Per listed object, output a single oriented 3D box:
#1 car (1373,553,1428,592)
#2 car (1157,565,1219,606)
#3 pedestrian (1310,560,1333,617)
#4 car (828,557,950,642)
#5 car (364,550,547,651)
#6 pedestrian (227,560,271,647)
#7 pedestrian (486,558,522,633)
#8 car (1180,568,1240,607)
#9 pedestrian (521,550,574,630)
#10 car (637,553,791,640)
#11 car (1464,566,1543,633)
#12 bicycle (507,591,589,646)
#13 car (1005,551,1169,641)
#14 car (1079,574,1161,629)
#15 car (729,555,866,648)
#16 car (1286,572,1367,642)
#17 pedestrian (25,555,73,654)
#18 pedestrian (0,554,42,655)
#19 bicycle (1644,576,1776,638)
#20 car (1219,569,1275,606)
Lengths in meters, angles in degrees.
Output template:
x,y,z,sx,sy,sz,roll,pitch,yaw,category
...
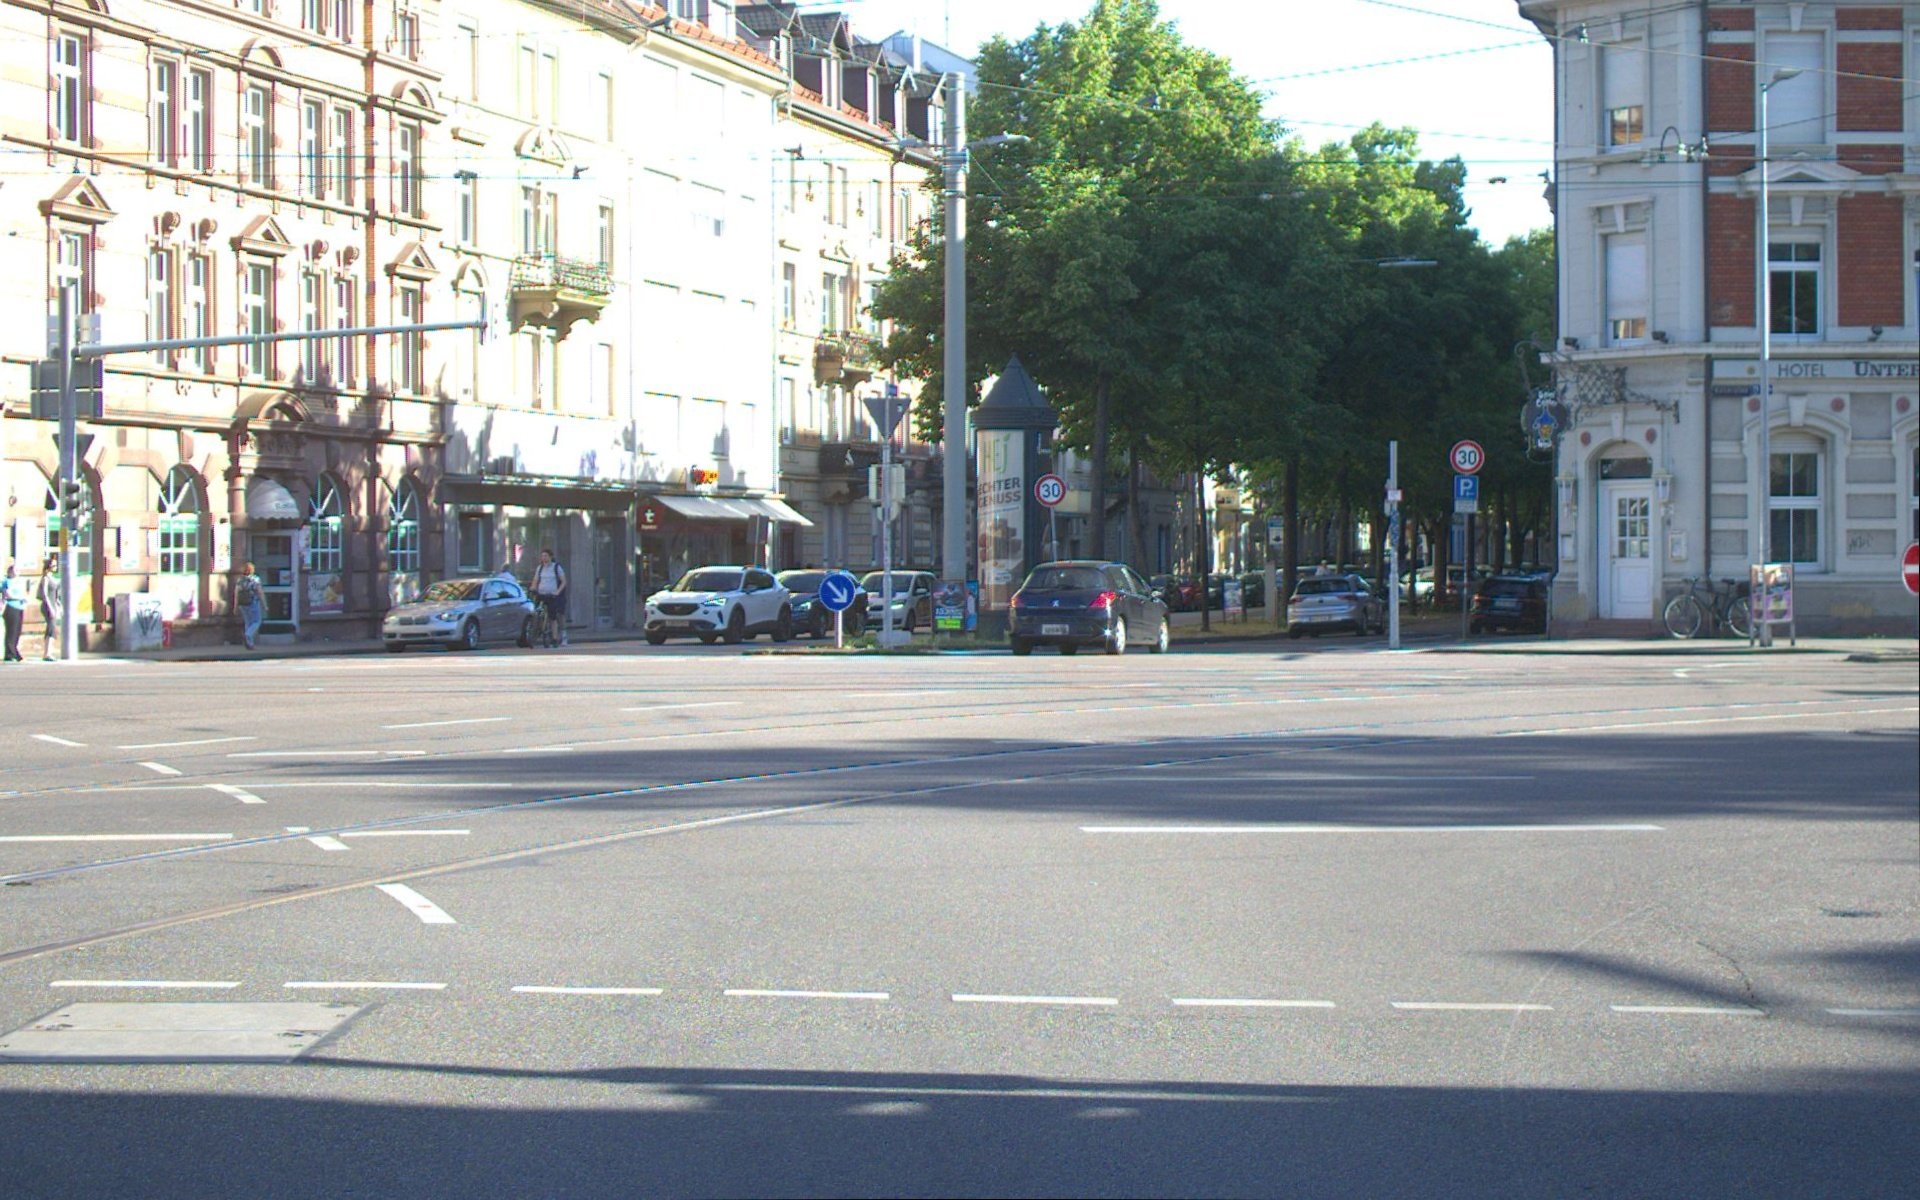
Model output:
x,y,z,sx,sy,sz,roll,pitch,yaw,category
17.269,-1.077,134.665,1.560,1.508,3.653,1,1,17,car
8.764,-0.568,132.050,1.560,1.508,3.653,1,1,17,car
11.579,-0.370,110.161,0.640,1.790,0.490,1,0,12,pedestrian
-1.613,-0.021,79.860,1.994,1.897,3.998,1,1,11,car
-9.808,-0.005,67.097,1.995,1.897,3.997,1,1,17,car
-13.425,0.064,64.894,0.544,1.626,0.706,1,0,13,pedestrian
-10.070,-0.101,75.968,0.544,1.626,0.706,1,0,13,pedestrian
9.915,-0.493,136.227,1.560,1.508,3.653,1,1,17,car
-7.829,-0.190,65.214,0.821,1.507,0.598,1,0,15,pedestrian
-4.785,-0.081,67.389,1.994,1.612,3.998,1,1,11,car
13.068,-0.023,82.598,1.692,1.559,3.839,1,1,11,car
-7.815,0.337,65.294,0.763,1.004,2.395,1,1,13,bicycle
2.058,-0.075,54.771,1.755,1.357,3.853,1,1,15,car
5.730,0.042,122.782,1.995,1.897,3.997,1,1,17,car
-3.444,0.017,73.663,1.994,1.897,3.998,1,1,11,car
8.358,0.133,78.660,1.772,1.525,3.999,1,1,6,car
-15.127,0.068,57.088,0.633,1.628,0.701,1,0,-4,pedestrian
-15.333,0.070,55.912,0.633,1.628,0.701,1,0,-4,pedestrian
12.451,0.111,57.098,2.049,0.994,0.630,1,0,3,bicycle
11.883,-0.528,142.414,1.560,1.508,3.653,1,1,17,car
